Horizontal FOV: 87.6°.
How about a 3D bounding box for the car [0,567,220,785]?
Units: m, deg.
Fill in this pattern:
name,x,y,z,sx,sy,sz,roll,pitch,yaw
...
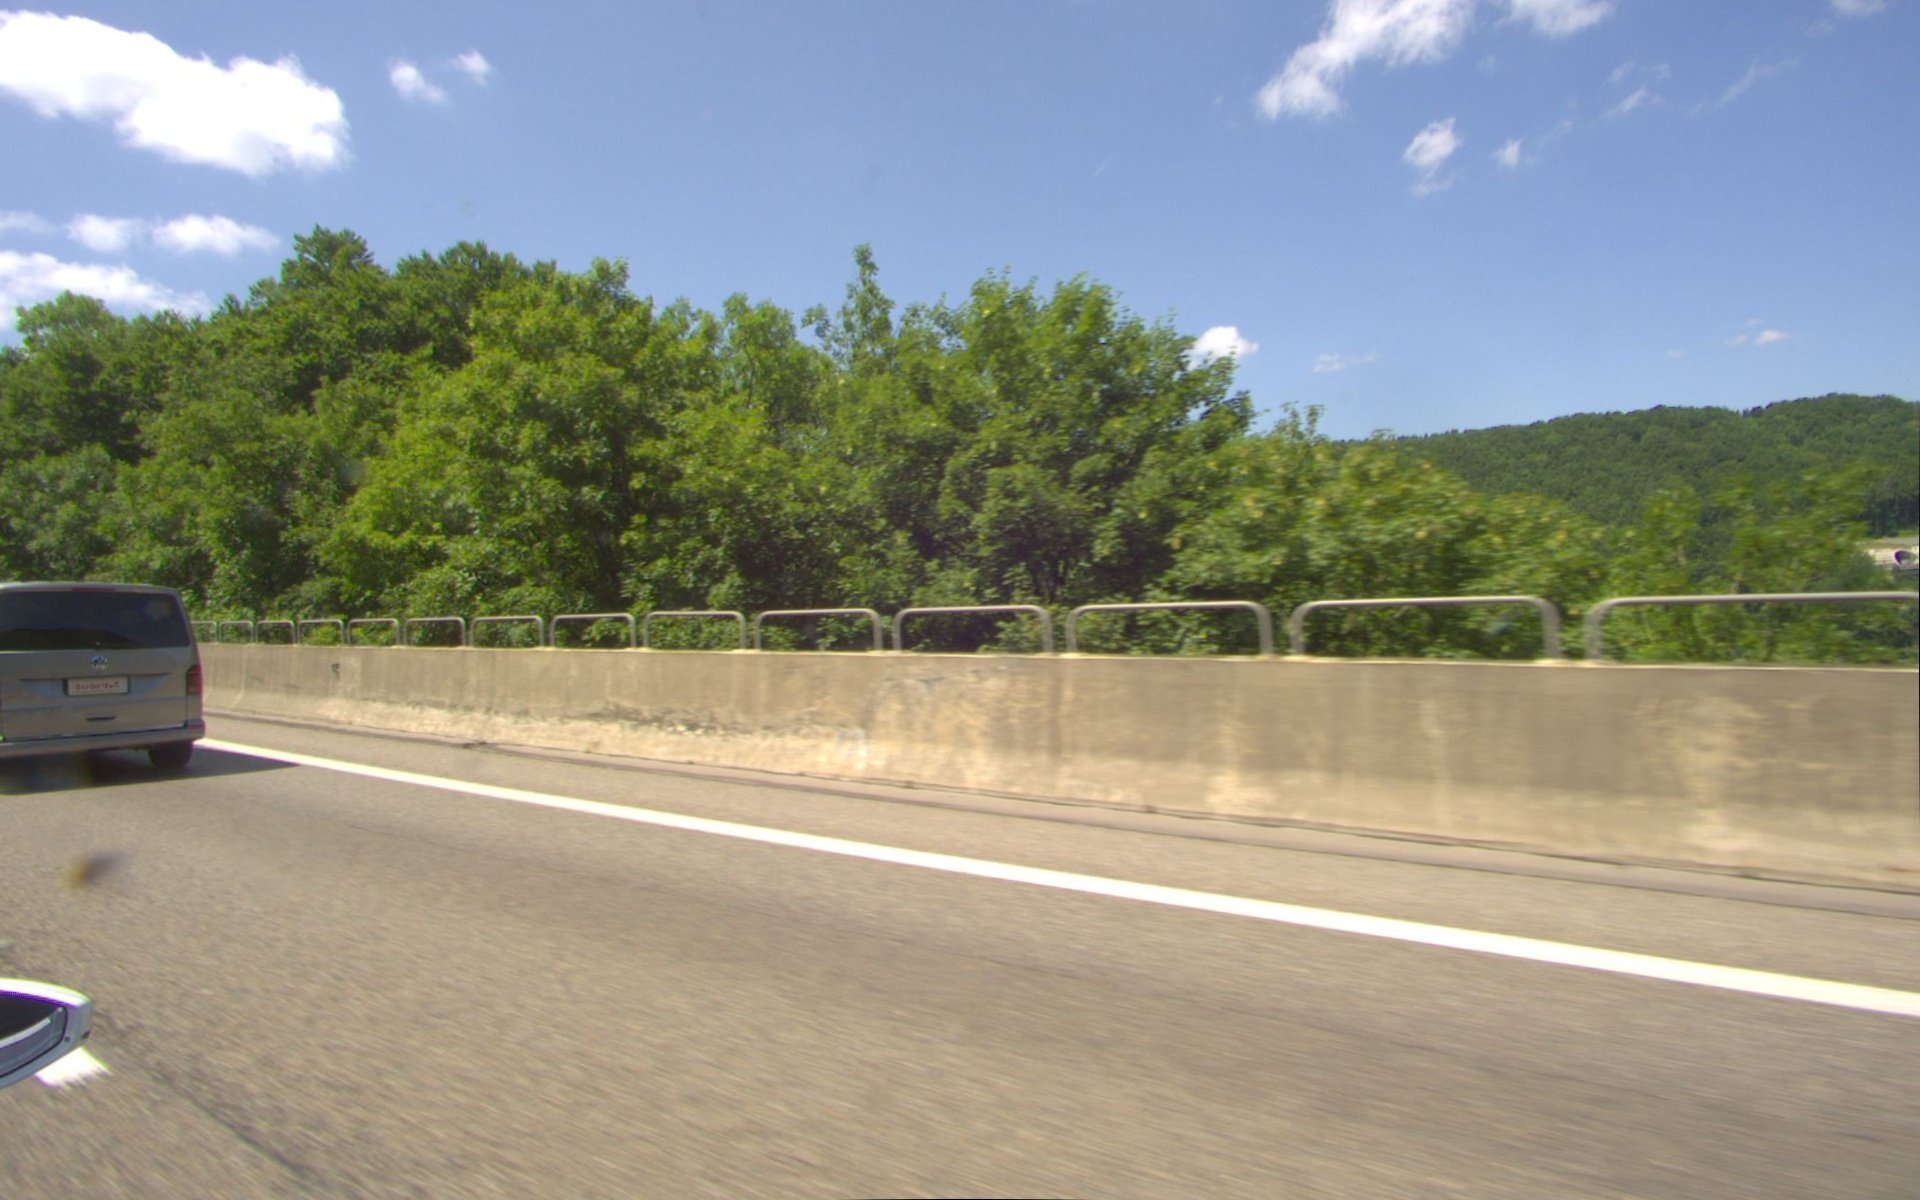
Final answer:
name,x,y,z,sx,sy,sz,roll,pitch,yaw
car,-10.128,0.727,10.901,4.631,1.956,1.935,-1,0,35
